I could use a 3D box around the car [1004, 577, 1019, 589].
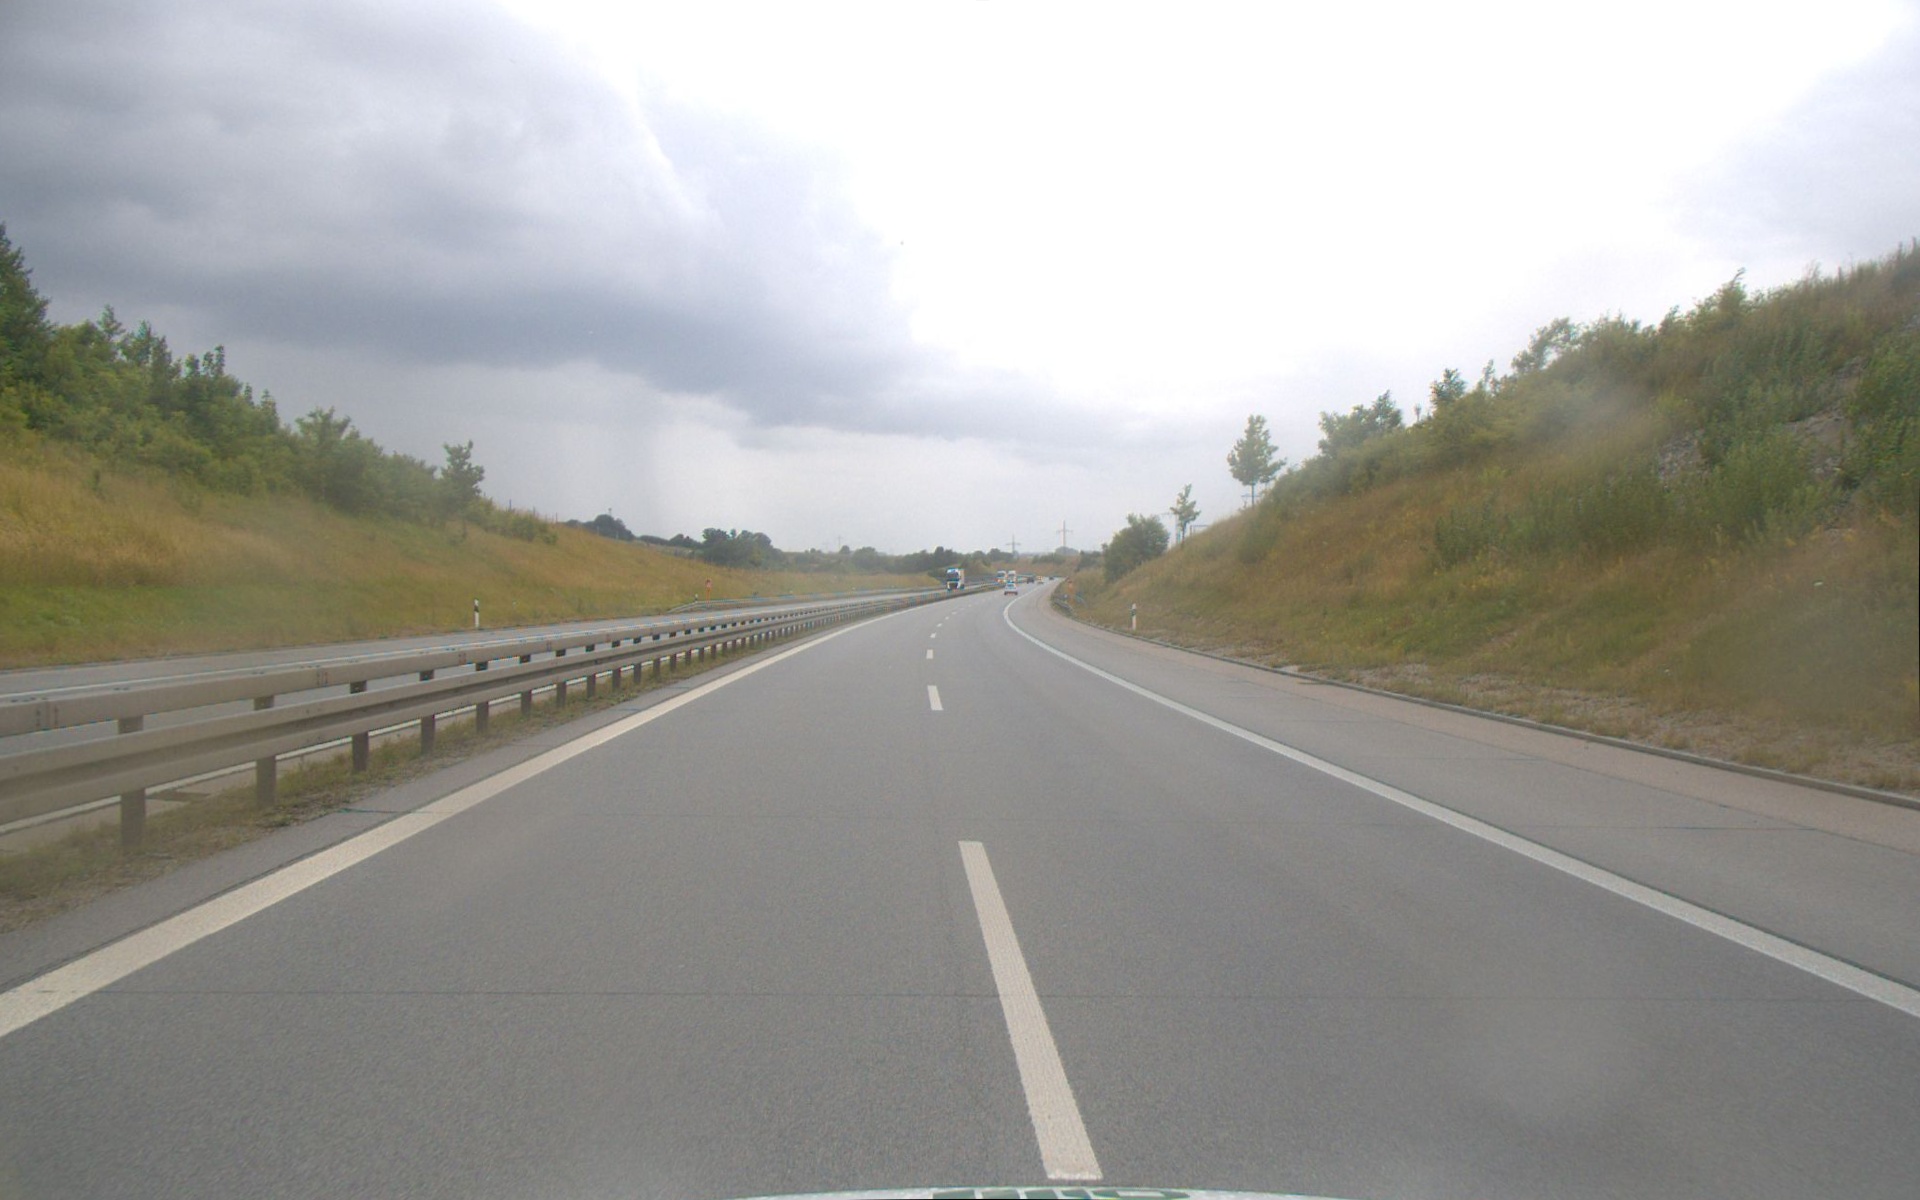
[{"bbox_3d":[7.434,-2.444,236.913,1.915,1.680,4.002,0,0,5],"label":"car"}]
